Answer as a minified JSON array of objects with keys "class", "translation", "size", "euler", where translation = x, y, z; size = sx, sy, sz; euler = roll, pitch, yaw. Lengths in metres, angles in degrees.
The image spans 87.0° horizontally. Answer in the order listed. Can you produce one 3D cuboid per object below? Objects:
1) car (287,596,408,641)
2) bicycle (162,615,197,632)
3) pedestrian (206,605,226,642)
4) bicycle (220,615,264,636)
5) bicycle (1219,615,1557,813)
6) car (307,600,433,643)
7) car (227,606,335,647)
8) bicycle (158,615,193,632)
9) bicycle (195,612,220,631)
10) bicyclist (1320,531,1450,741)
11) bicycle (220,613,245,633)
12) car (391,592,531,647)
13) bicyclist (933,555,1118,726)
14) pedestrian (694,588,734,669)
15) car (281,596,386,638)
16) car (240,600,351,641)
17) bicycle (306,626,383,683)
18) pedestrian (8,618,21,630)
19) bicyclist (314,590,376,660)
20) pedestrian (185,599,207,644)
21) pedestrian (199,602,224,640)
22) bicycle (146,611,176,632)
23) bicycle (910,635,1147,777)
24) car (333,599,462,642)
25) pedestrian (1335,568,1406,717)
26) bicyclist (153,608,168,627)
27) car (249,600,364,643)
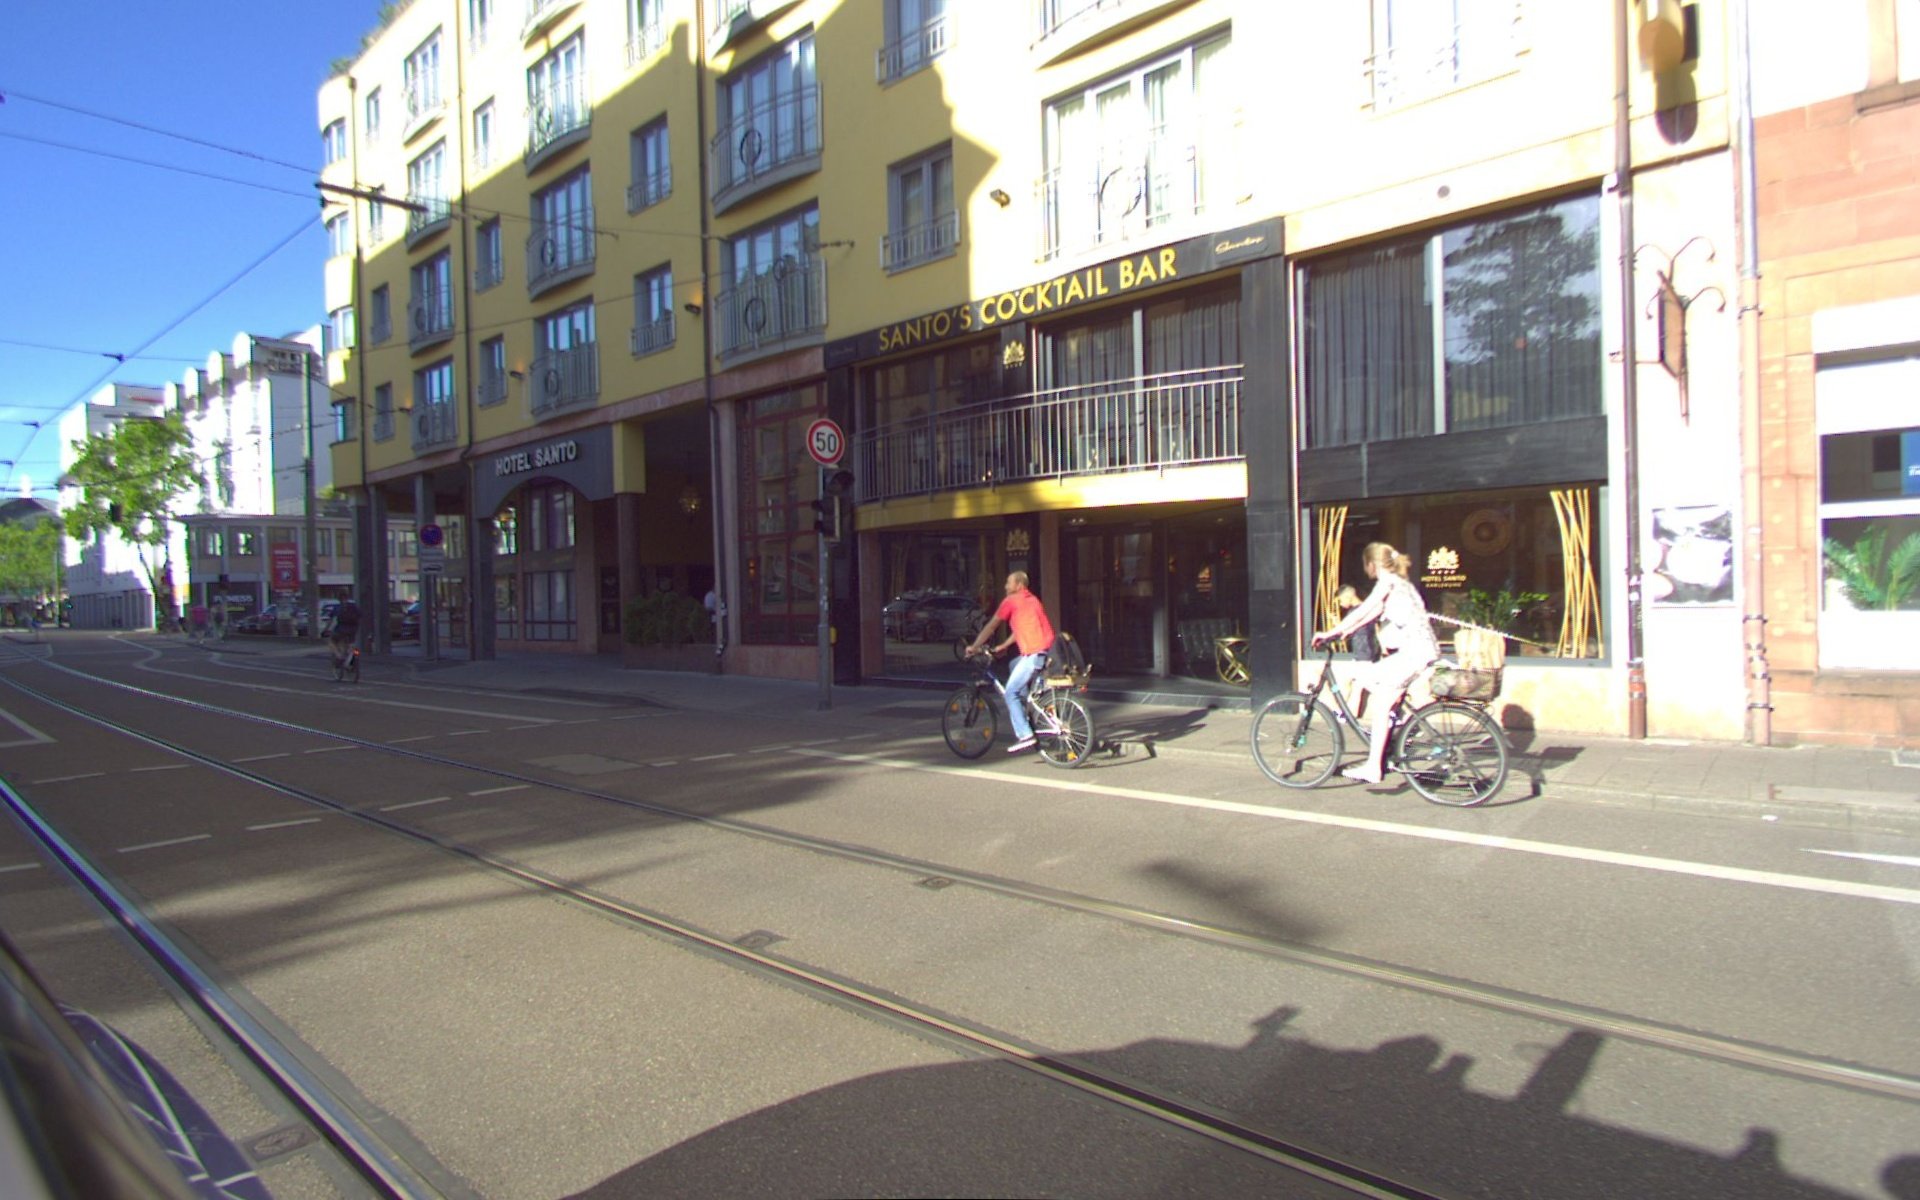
[{"class":"car","translation":[-26.519,0.745,43.905],"size":[1.784,1.825,4.189],"euler":[2,1,41]},{"class":"bicycle","translation":[-52.969,1.564,68.720],"size":[1.850,1.085,0.465],"euler":[-2,0,-40]},{"class":"pedestrian","translation":[-33.387,1.071,45.416],"size":[0.499,1.629,0.566],"euler":[-1,0,40]},{"class":"bicycle","translation":[-38.446,1.370,54.190],"size":[1.847,1.044,0.427],"euler":[-2,0,-24]},{"class":"bicycle","translation":[2.951,0.718,7.135],"size":[2.060,1.192,0.723],"euler":[-1,0,40]},{"class":"car","translation":[-24.602,0.888,42.311],"size":[1.785,1.621,4.189],"euler":[-3,-1,42]},{"class":"car","translation":[-34.316,1.295,51.212],"size":[1.784,1.776,4.190],"euler":[-1,2,41]},{"class":"bicycle","translation":[-53.484,1.576,69.014],"size":[1.850,1.085,0.465],"euler":[-2,0,-40]},{"class":"bicycle","translation":[-41.209,1.180,55.427],"size":[1.874,1.044,0.519],"euler":[-1,0,34]},{"class":"bicyclist","translation":[2.993,0.235,7.123],"size":[0.678,1.386,0.584],"euler":[-1,1,40]},{"class":"bicycle","translation":[-39.999,1.278,55.640],"size":[1.874,1.088,0.459],"euler":[-1,0,34]},{"class":"car","translation":[-18.020,0.671,36.700],"size":[1.785,1.825,4.189],"euler":[-1,0,42]},{"class":"bicyclist","translation":[0.562,0.330,8.962],"size":[1.467,1.391,0.728],"euler":[-1,1,40]},{"class":"pedestrian","translation":[-5.513,0.625,22.669],"size":[0.555,1.783,0.723],"euler":[-1,0,-44]},{"class":"car","translation":[-28.229,0.753,45.652],"size":[1.785,1.685,3.651],"euler":[-1,1,41]},{"class":"car","translation":[-32.268,0.975,49.212],"size":[1.784,1.825,4.189],"euler":[-1,0,41]},{"class":"bicycle","translation":[-12.811,1.106,21.052],"size":[2.060,1.096,0.723],"euler":[-1,1,40]},{"class":"pedestrian","translation":[-84.410,2.159,90.339],"size":[0.747,0.995,0.784],"euler":[-1,0,42]},{"class":"bicyclist","translation":[-12.779,0.505,21.036],"size":[1.227,1.391,0.717],"euler":[-1,1,40]},{"class":"pedestrian","translation":[-33.901,0.930,44.898],"size":[0.708,1.961,0.631],"euler":[-1,0,40]},{"class":"pedestrian","translation":[-35.529,0.992,48.057],"size":[0.778,1.777,0.707],"euler":[-1,0,33]},{"class":"bicycle","translation":[-63.643,1.712,80.638],"size":[0.558,1.127,2.010],"euler":[-13,14,-3]},{"class":"bicycle","translation":[0.564,0.874,8.996],"size":[2.060,1.073,0.723],"euler":[-1,1,40]},{"class":"car","translation":[-22.577,0.788,40.732],"size":[1.784,1.560,4.189],"euler":[2,1,41]},{"class":"pedestrian","translation":[4.032,0.402,9.940],"size":[0.516,1.421,0.400],"euler":[-1,0,40]},{"class":"bicyclist","translation":[-63.797,1.406,80.777],"size":[0.555,1.370,0.721],"euler":[4,13,-8]},{"class":"car","translation":[-30.489,0.970,47.312],"size":[1.785,1.825,4.189],"euler":[-1,0,42]}]
